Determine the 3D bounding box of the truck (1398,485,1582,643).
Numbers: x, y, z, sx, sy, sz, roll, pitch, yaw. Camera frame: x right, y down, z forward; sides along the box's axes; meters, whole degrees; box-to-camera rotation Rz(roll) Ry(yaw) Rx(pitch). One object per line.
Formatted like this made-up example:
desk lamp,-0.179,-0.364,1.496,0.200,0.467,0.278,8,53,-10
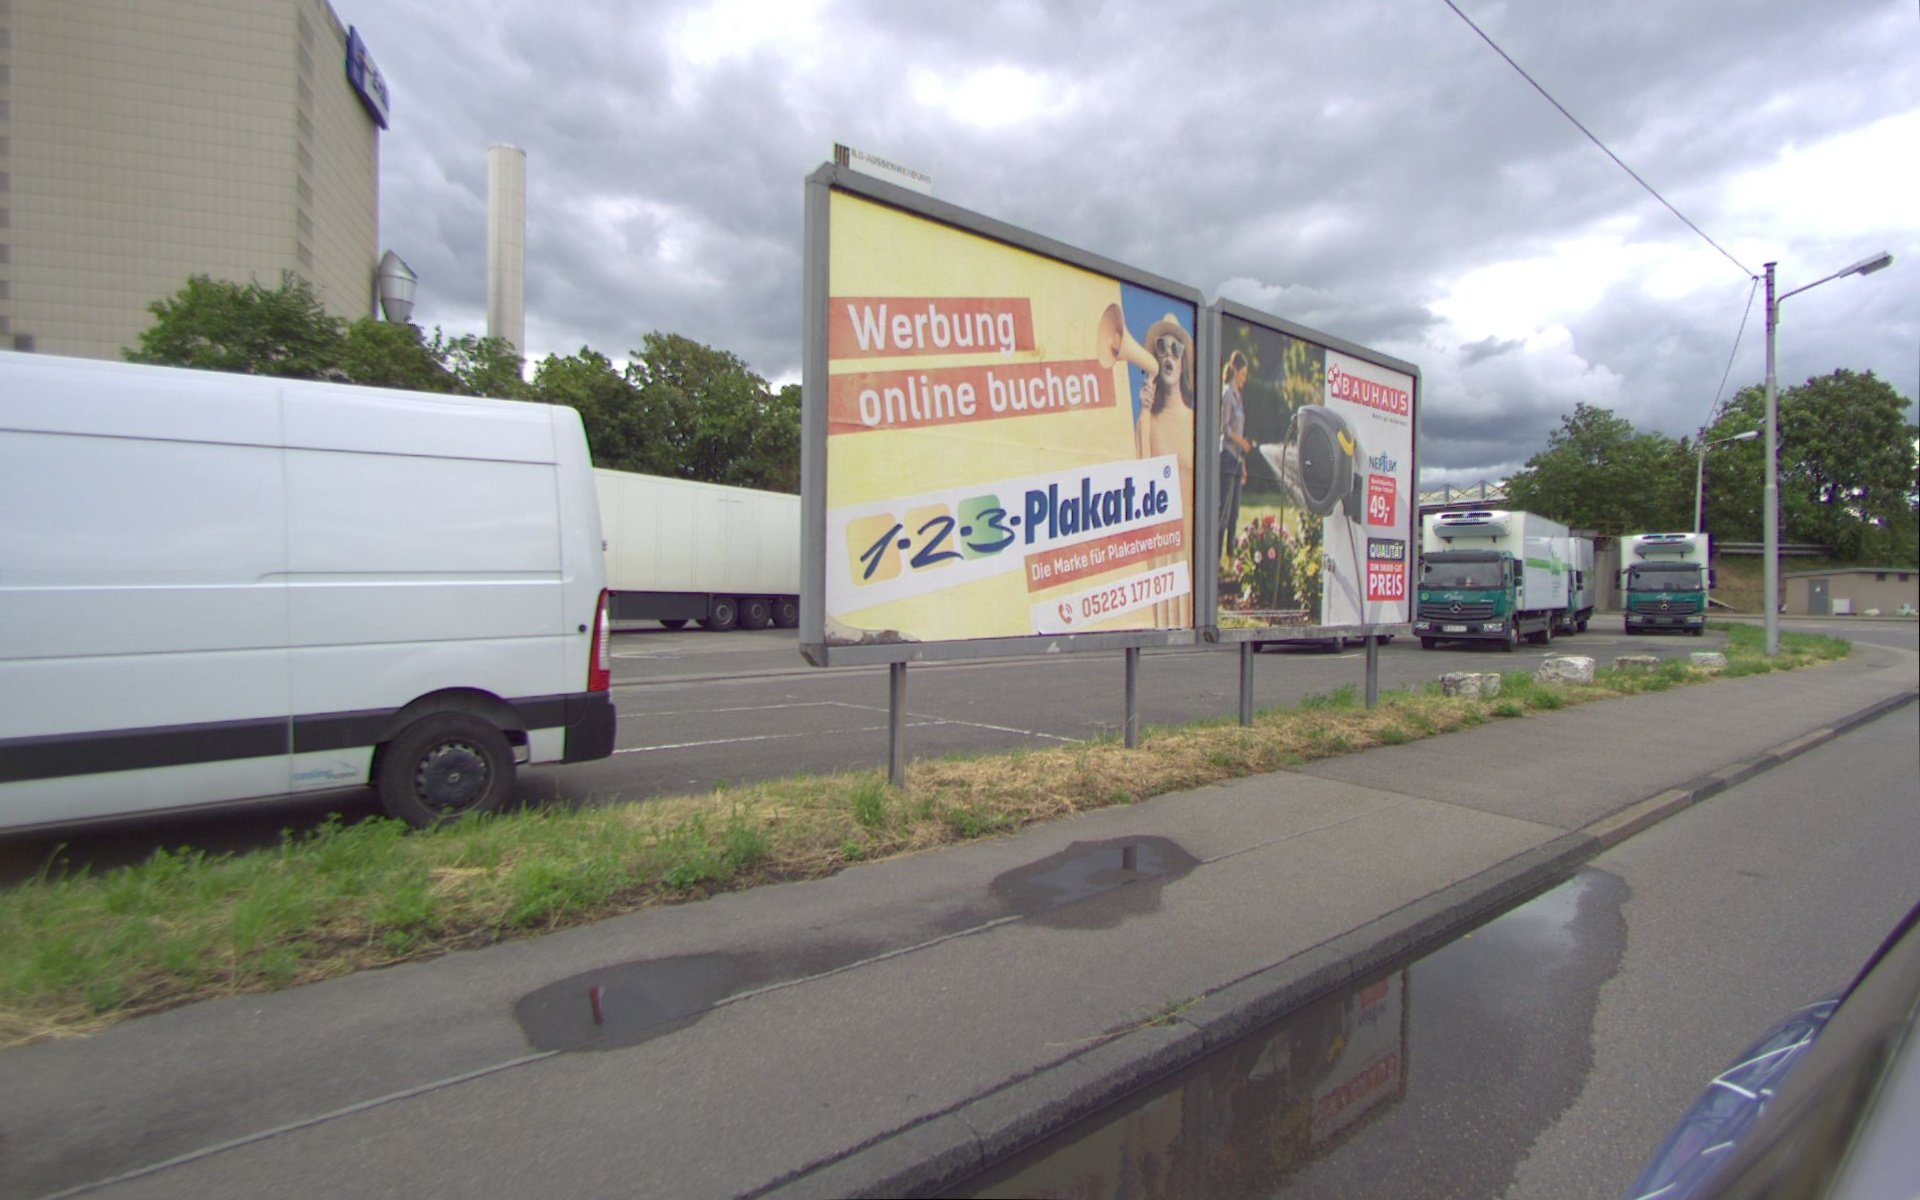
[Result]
truck,15.951,-0.878,29.901,2.973,3.879,10.288,0,-1,38

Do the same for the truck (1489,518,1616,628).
truck,22.826,-0.961,38.739,3.055,3.677,8.489,-3,-1,38

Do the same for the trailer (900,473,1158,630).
trailer,2.852,-1.348,32.499,3.037,4.026,12.971,3,2,28

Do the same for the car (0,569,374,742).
car,-8.247,0.473,9.672,4.349,1.464,1.893,0,0,-39

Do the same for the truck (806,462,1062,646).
truck,-0.348,-1.162,26.559,3.046,4.051,7.956,3,2,29

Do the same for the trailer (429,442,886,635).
trailer,-7.463,-1.382,28.377,2.691,4.232,13.309,2,1,36

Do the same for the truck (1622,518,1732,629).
truck,26.916,-0.958,38.075,3.053,3.677,8.496,0,1,35

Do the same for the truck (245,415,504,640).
truck,-12.403,-1.391,21.617,2.693,4.266,4.023,2,0,37

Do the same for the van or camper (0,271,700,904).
van or camper,-4.651,-0.079,5.277,6.005,2.680,2.261,0,1,-40

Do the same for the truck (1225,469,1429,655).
truck,11.065,-0.991,29.565,2.969,4.489,10.426,-1,0,35
